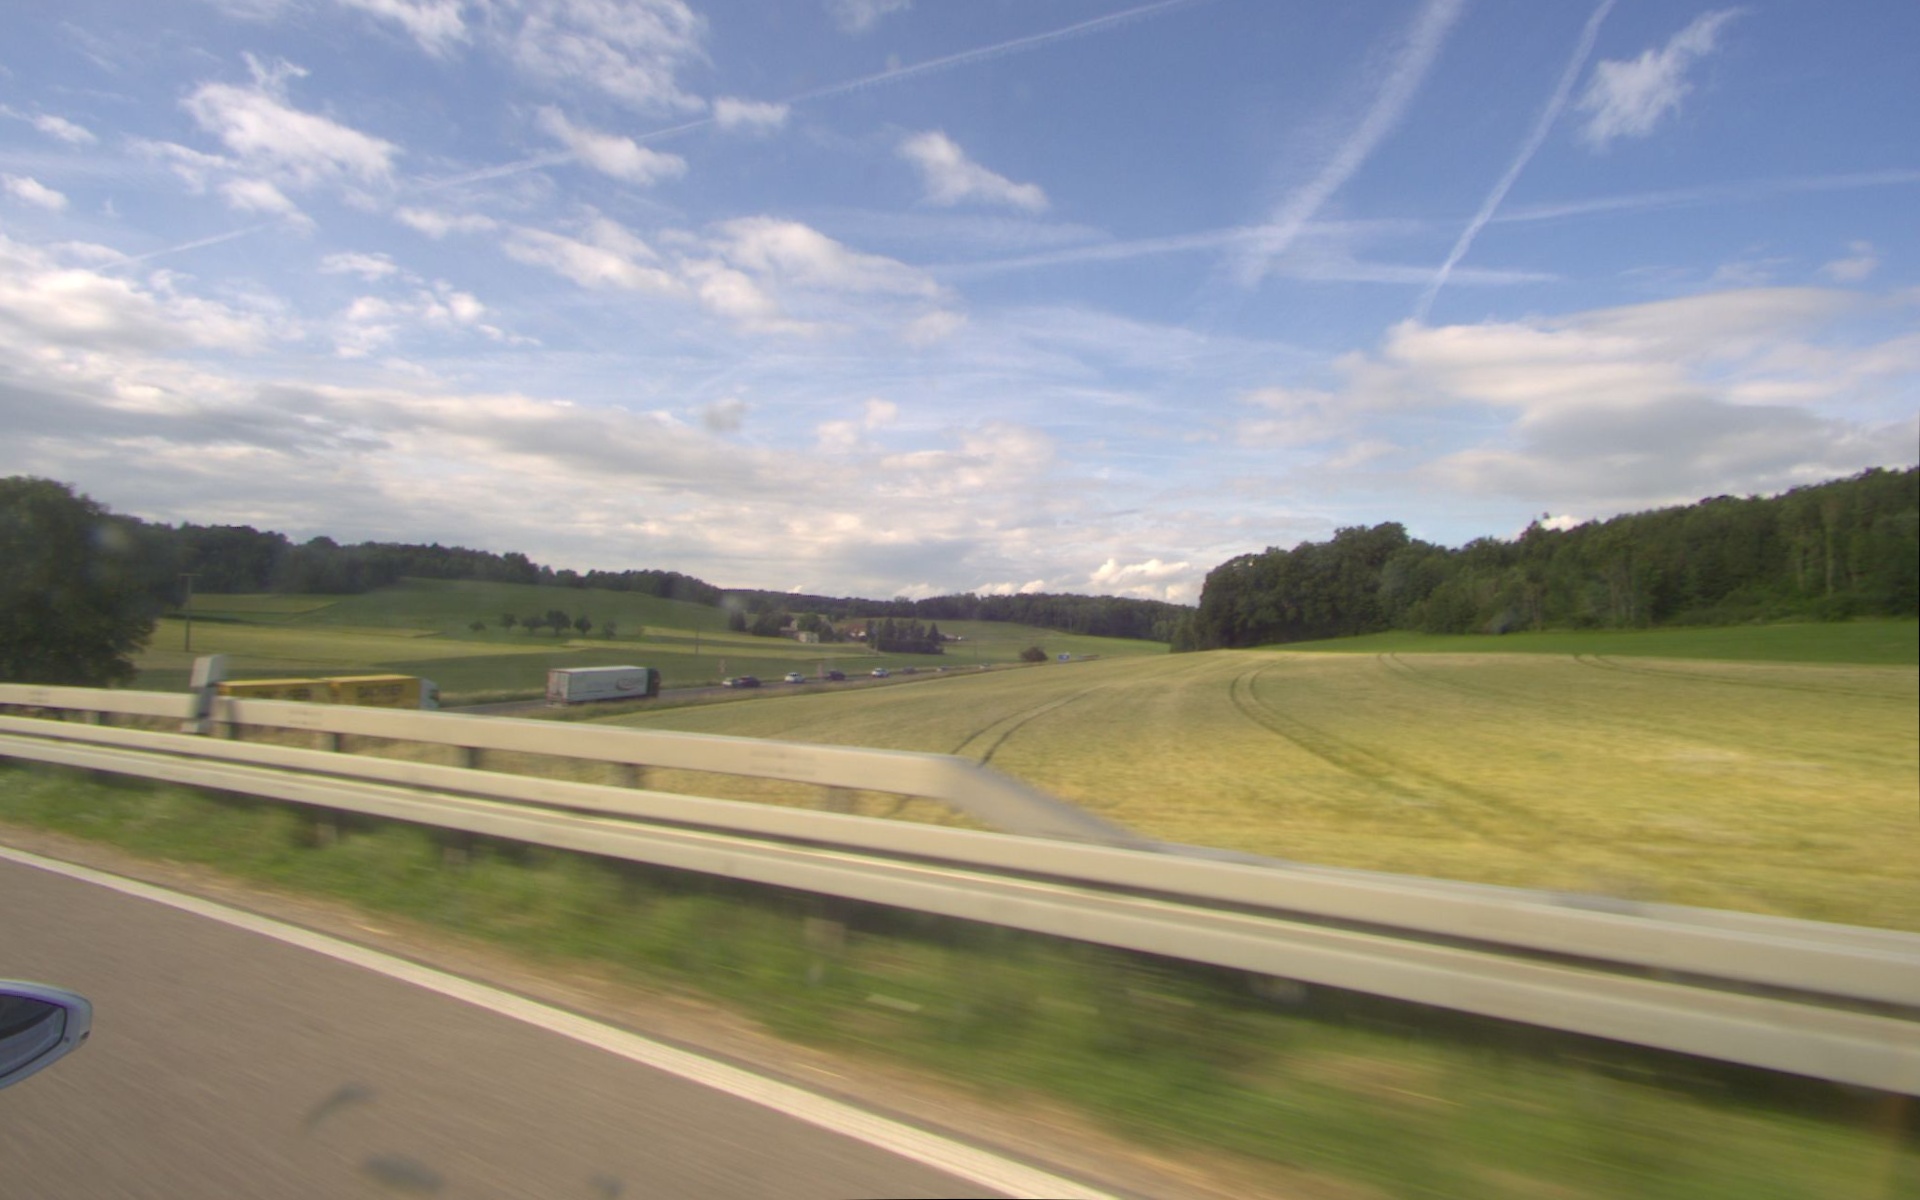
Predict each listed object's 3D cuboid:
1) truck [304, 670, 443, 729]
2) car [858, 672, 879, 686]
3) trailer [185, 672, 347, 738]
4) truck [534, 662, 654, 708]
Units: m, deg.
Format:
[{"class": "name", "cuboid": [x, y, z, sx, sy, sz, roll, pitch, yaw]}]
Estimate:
[{"class": "truck", "cuboid": [-46.124, 7.730, 79.245, 3.766, 4.110, 9.800, -1, -3, 13]}, {"class": "car", "cuboid": [-14.961, 12.945, 163.814, 1.965, 2.038, 3.995, -3, -3, 18]}, {"class": "trailer", "cuboid": [-48.261, 7.198, 70.106, 3.766, 4.110, 9.127, -1, -3, 13]}, {"class": "truck", "cuboid": [-38.138, 8.799, 105.252, 4.007, 4.046, 14.411, -3, -3, 16]}]
